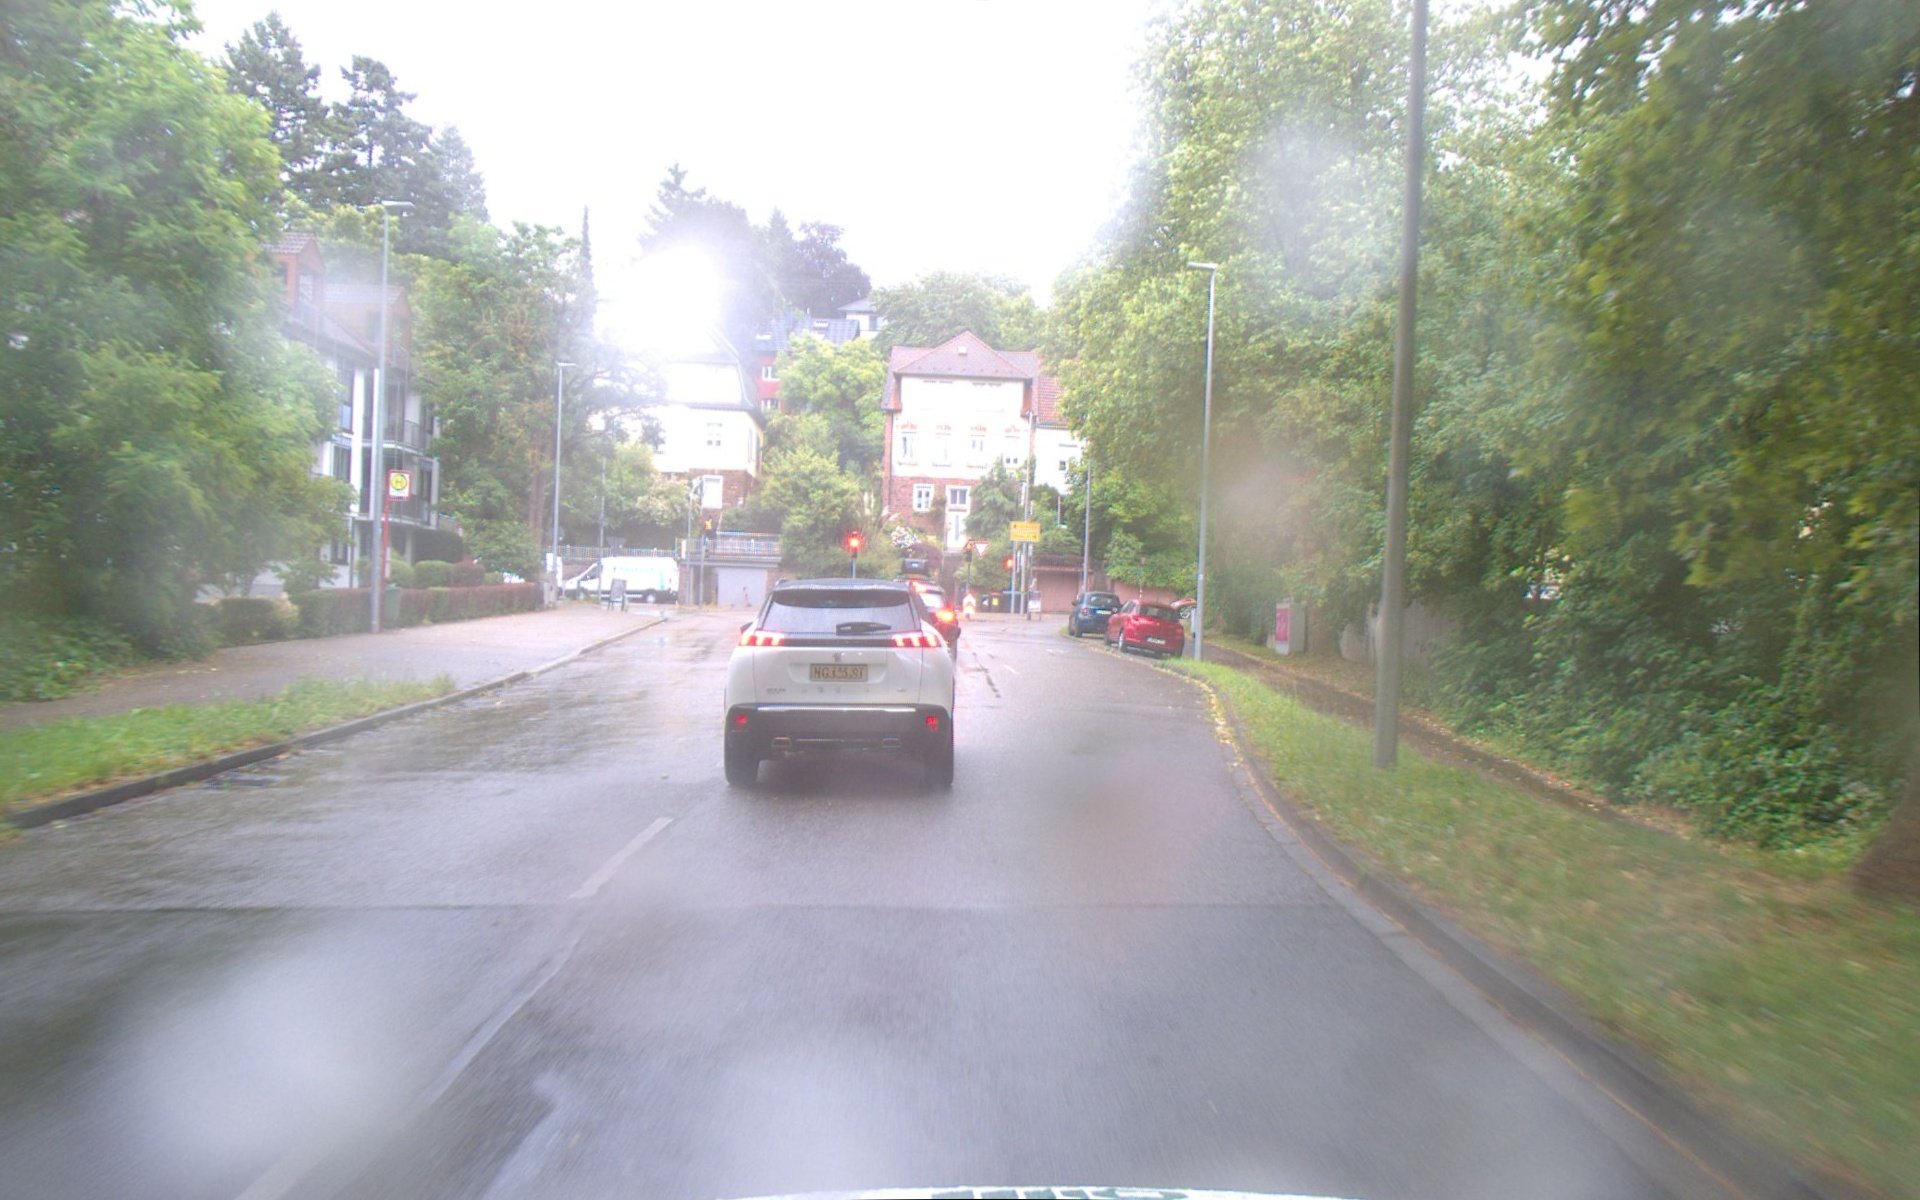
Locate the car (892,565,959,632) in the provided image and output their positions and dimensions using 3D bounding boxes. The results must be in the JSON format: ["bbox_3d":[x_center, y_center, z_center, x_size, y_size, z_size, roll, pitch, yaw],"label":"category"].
[{"bbox_3d":[-1.053,-0.096,48.131,1.725,1.740,4.599,3,1,-3],"label":"car"}]

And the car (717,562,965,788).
[{"bbox_3d":[-0.890,0.509,13.822,1.717,1.562,4.366,1,0,-2],"label":"car"}]

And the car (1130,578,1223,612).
[{"bbox_3d":[10.926,-0.245,83.611,4.474,1.629,1.774,1,-1,0],"label":"car"}]

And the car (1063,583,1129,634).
[{"bbox_3d":[4.517,0.279,55.428,1.714,1.517,3.599,5,0,-2],"label":"car"}]

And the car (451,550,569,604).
[{"bbox_3d":[-23.757,-1.213,87.444,5.449,2.538,2.315,3,-1,0],"label":"car"}]

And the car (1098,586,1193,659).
[{"bbox_3d":[5.079,0.591,45.805,1.785,1.542,3.741,9,2,-4],"label":"car"}]

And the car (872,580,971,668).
[{"bbox_3d":[-0.794,0.441,34.183,1.795,1.481,4.658,4,1,-1],"label":"car"}]

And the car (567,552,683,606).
[{"bbox_3d":[-17.658,-1.080,87.364,5.545,2.537,2.315,3,-1,0],"label":"car"}]
